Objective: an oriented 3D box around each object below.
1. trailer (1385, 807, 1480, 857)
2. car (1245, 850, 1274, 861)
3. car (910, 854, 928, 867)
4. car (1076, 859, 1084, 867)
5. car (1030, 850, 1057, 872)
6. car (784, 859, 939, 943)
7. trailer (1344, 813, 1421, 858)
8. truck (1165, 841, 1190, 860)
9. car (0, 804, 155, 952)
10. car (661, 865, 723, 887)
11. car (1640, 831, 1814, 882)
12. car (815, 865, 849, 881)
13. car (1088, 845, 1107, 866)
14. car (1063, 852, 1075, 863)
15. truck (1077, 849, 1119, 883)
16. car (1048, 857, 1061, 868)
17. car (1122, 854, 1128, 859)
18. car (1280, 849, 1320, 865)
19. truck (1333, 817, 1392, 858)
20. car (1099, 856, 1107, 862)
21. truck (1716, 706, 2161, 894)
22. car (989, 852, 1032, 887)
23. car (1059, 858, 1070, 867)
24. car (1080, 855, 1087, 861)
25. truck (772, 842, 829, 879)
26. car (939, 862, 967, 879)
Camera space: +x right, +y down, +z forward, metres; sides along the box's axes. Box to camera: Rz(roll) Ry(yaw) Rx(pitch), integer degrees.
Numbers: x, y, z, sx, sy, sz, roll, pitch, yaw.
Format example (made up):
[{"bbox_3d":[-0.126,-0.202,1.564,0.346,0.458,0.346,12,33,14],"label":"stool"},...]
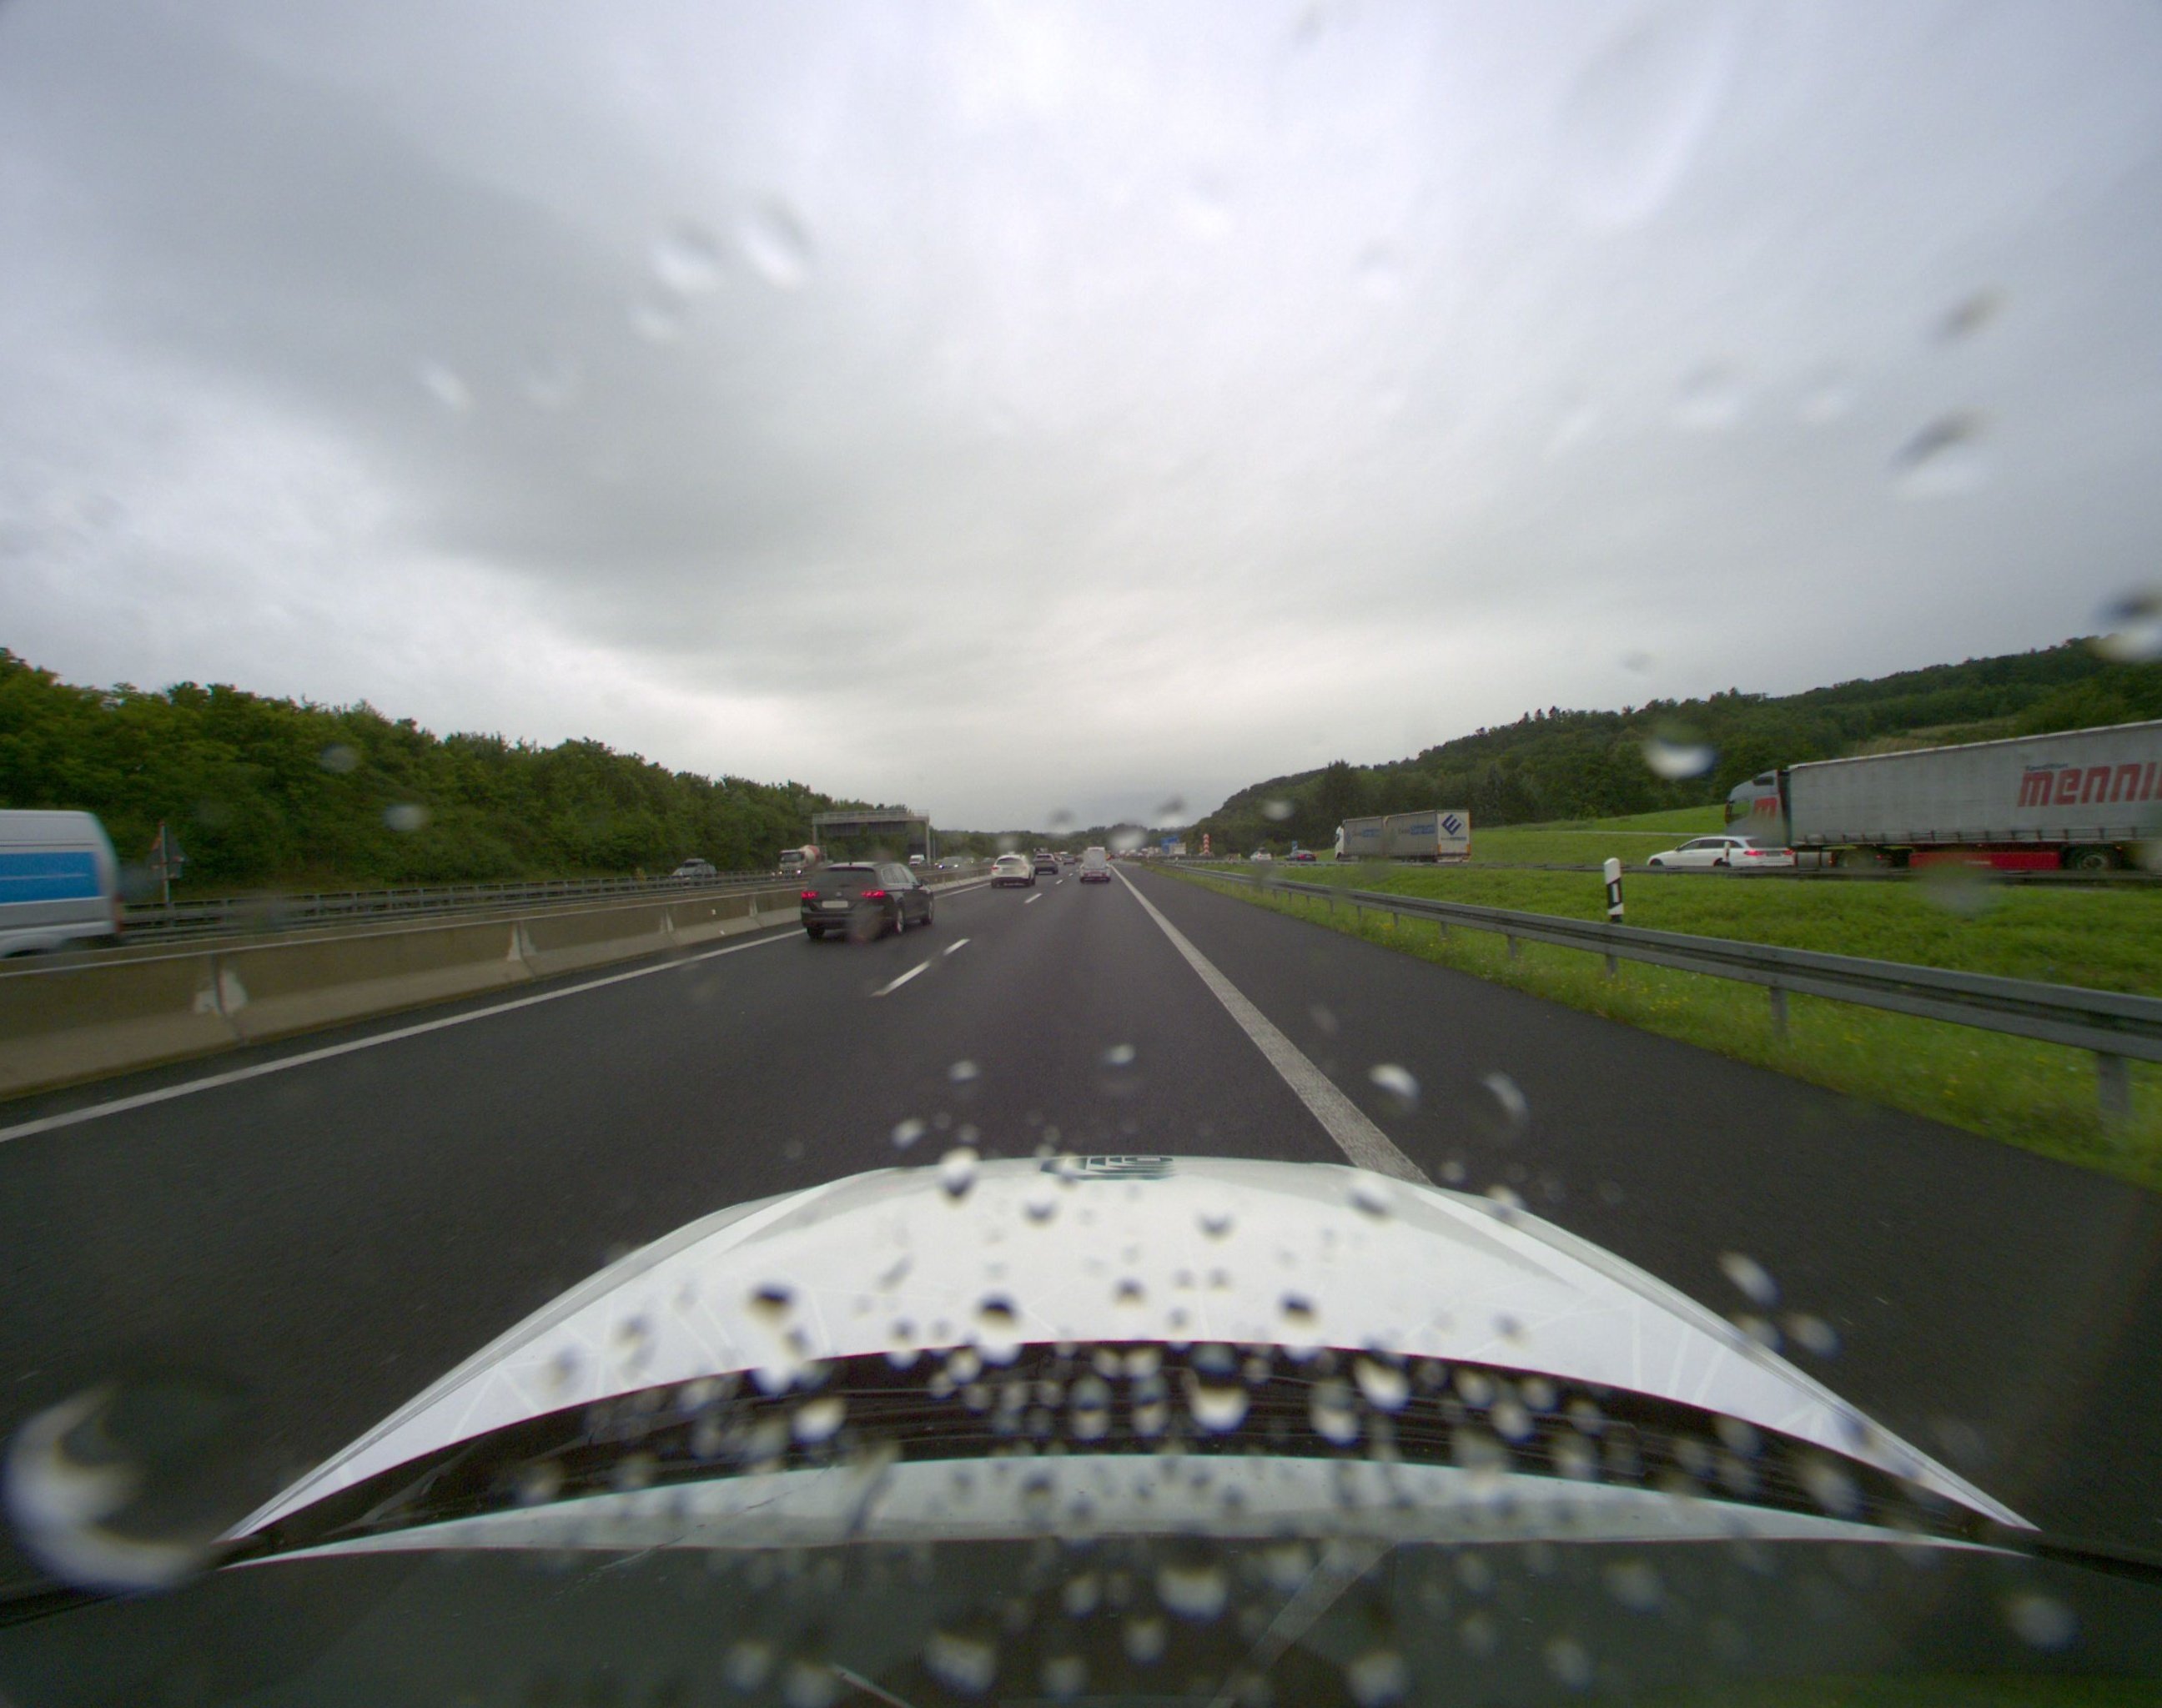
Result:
[{"bbox_3d":[26.099,-1.510,60.974,3.073,3.527,8.069,0,0,-5],"label":"trailer"},{"bbox_3d":[22.096,0.211,101.027,1.984,1.377,5.067,-2,0,-6],"label":"car"},{"bbox_3d":[-29.246,1.099,146.858,1.986,2.213,5.716,-2,0,1],"label":"car"},{"bbox_3d":[-0.220,1.906,175.219,1.639,1.574,4.001,0,0,2],"label":"car"},{"bbox_3d":[-3.114,0.564,68.603,1.969,1.703,4.803,-1,0,1],"label":"car"},{"bbox_3d":[-4.360,0.864,16.996,1.781,1.459,4.804,-1,0,2],"label":"car"},{"bbox_3d":[25.455,-1.469,69.208,2.932,3.527,8.407,0,0,-4],"label":"trailer"},{"bbox_3d":[19.827,-0.659,167.602,3.816,3.659,8.264,0,0,-2],"label":"truck"},{"bbox_3d":[-13.614,0.309,7.942,2.350,1.693,5.906,-2,0,0],"label":"car"},{"bbox_3d":[-27.420,1.524,57.635,1.986,1.407,4.678,-2,0,2],"label":"car"},{"bbox_3d":[23.118,0.096,29.466,1.990,1.616,5.070,-2,0,-5],"label":"car"},{"bbox_3d":[-25.864,1.964,84.779,1.986,1.407,4.678,-2,0,2],"label":"car"},{"bbox_3d":[2.253,0.146,111.183,2.324,2.725,6.537,-1,0,-1],"label":"car"},{"bbox_3d":[-1.954,0.584,133.649,1.732,1.794,4.001,-1,0,1],"label":"car"},{"bbox_3d":[0.955,0.644,47.503,2.234,1.839,6.585,-1,0,1],"label":"truck"},{"bbox_3d":[-4.289,1.375,131.137,1.812,1.662,4.018,-2,0,2],"label":"car"},{"bbox_3d":[13.867,0.797,256.322,1.639,1.574,4.001,0,0,2],"label":"car"},{"bbox_3d":[20.365,0.289,75.854,1.982,1.377,5.311,-1,0,-4],"label":"car"},{"bbox_3d":[25.186,-1.418,73.045,2.932,3.527,5.918,0,0,-4],"label":"truck"},{"bbox_3d":[6.531,1.527,244.857,1.989,1.552,3.995,0,0,-4],"label":"car"},{"bbox_3d":[27.714,-1.311,23.954,3.814,4.540,16.857,-1,0,-4],"label":"truck"},{"bbox_3d":[-3.564,0.743,41.853,2.044,1.670,4.535,-1,0,-3],"label":"car"},{"bbox_3d":[-3.099,1.630,155.153,1.812,1.662,4.018,-2,0,2],"label":"car"},{"bbox_3d":[0.744,0.986,213.878,1.639,1.574,4.001,0,0,2],"label":"car"},{"bbox_3d":[-30.224,0.694,88.281,2.676,3.661,9.558,-2,0,1],"label":"truck"},{"bbox_3d":[-12.776,1.633,81.748,1.987,1.650,5.026,0,0,0],"label":"car"}]
